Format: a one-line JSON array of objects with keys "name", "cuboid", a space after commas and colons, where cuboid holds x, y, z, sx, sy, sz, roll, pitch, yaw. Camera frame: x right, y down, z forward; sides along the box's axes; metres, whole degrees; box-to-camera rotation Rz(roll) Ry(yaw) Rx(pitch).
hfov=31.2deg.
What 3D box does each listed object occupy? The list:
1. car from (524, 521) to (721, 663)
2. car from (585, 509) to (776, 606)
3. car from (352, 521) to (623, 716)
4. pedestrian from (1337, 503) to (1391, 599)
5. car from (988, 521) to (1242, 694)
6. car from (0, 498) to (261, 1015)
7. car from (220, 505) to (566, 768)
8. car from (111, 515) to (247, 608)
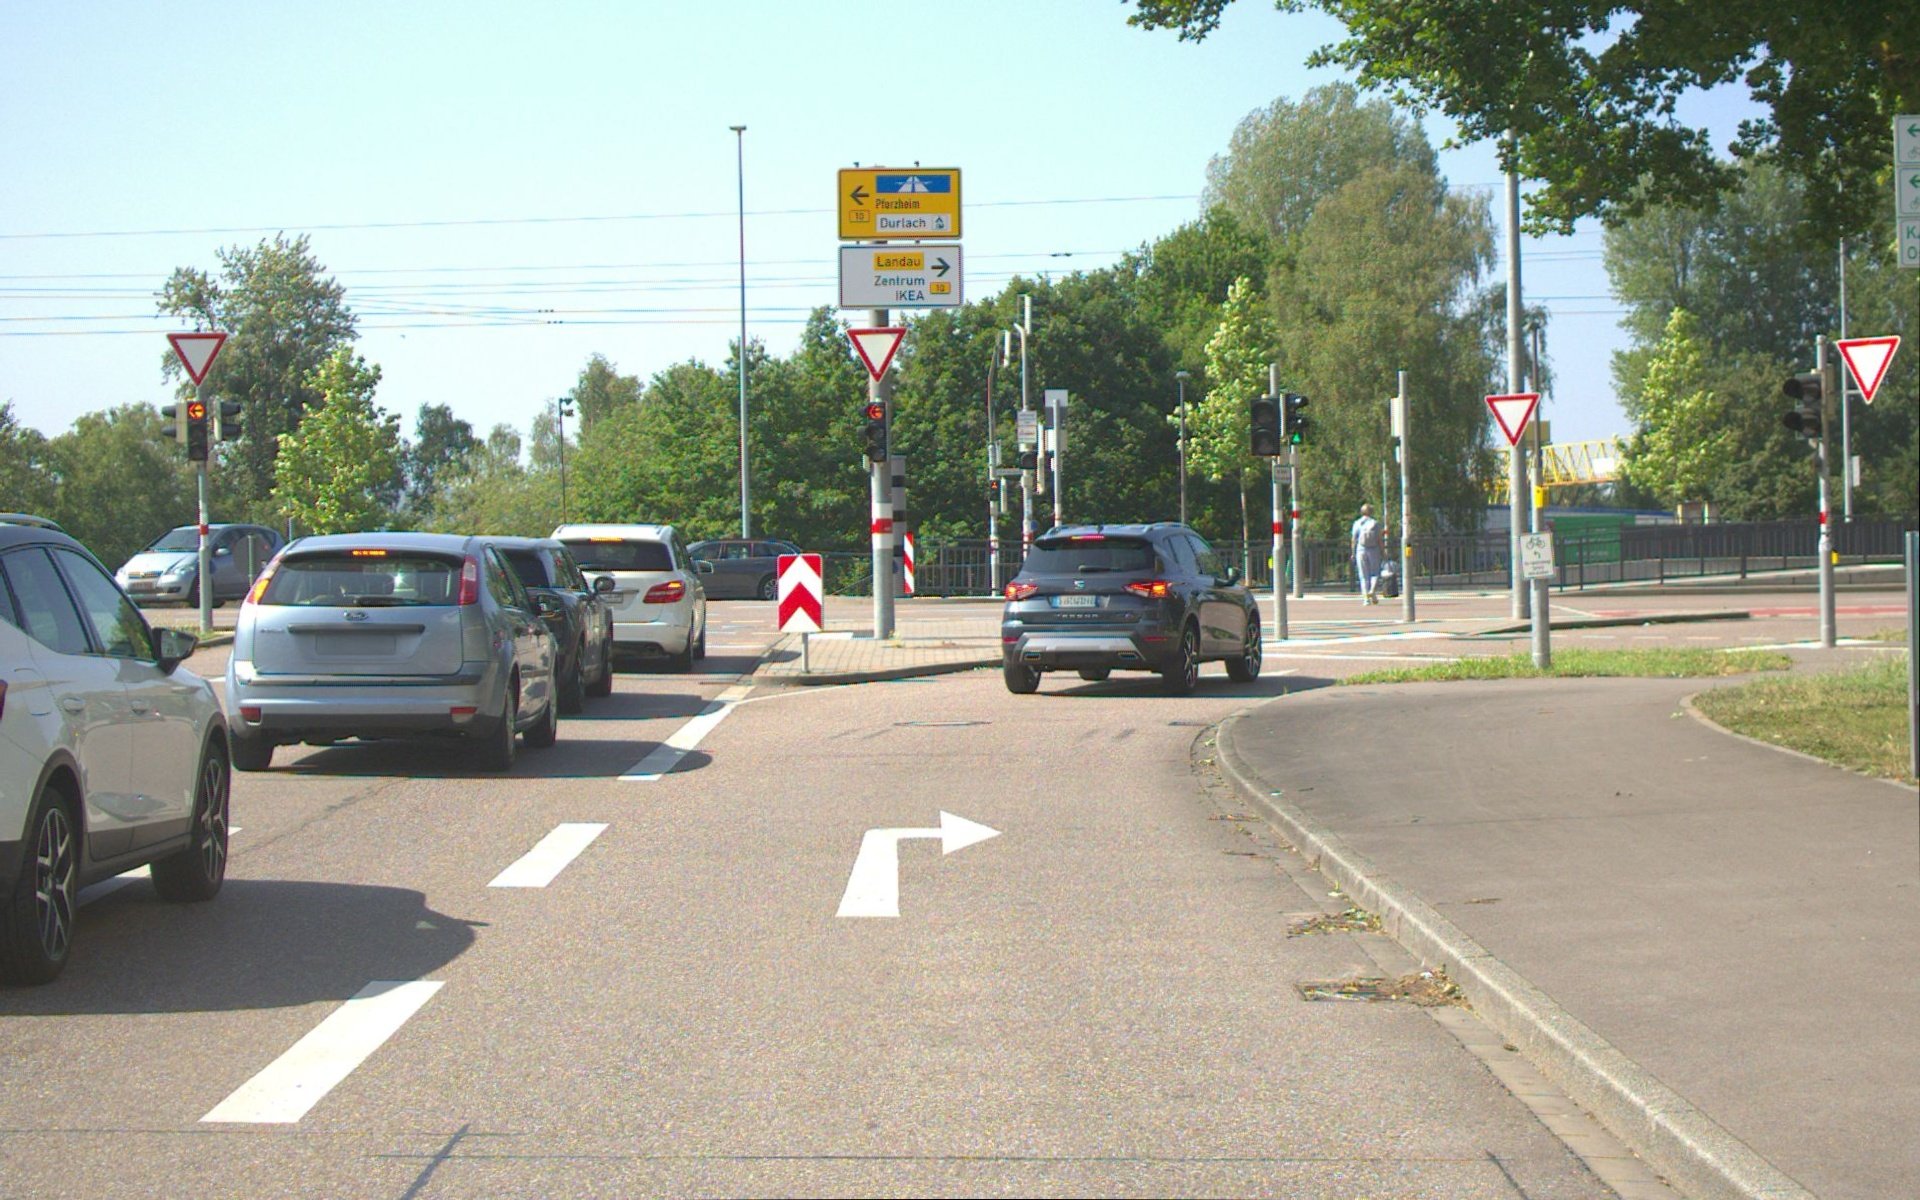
[{"name": "car", "cuboid": [-3.608, -0.133, 37.428, 1.741, 1.443, 4.389, 0, 1, 0]}, {"name": "car", "cuboid": [-6.099, -0.919, 74.774, 3.986, 2.007, 2.000, -1, 0, -9]}, {"name": "car", "cuboid": [-3.966, 0.102, 29.454, 1.737, 1.506, 4.201, -1, 1, 0]}, {"name": "pedestrian", "cuboid": [6.498, -0.794, 55.284, 0.773, 1.505, 1.007, -1, 2, 11]}, {"name": "car", "cuboid": [1.500, 0.035, 32.007, 1.671, 1.518, 3.374, 0, 1, 15]}, {"name": "car", "cuboid": [-3.738, 0.427, 12.329, 1.631, 1.493, 3.870, 0, 3, 0]}, {"name": "car", "cuboid": [-3.627, 0.174, 22.628, 1.706, 1.568, 4.175, 0, 1, -2]}, {"name": "car", "cuboid": [-14.589, -0.750, 64.391, 1.627, 1.619, 3.917, -1, 2, 0]}]
